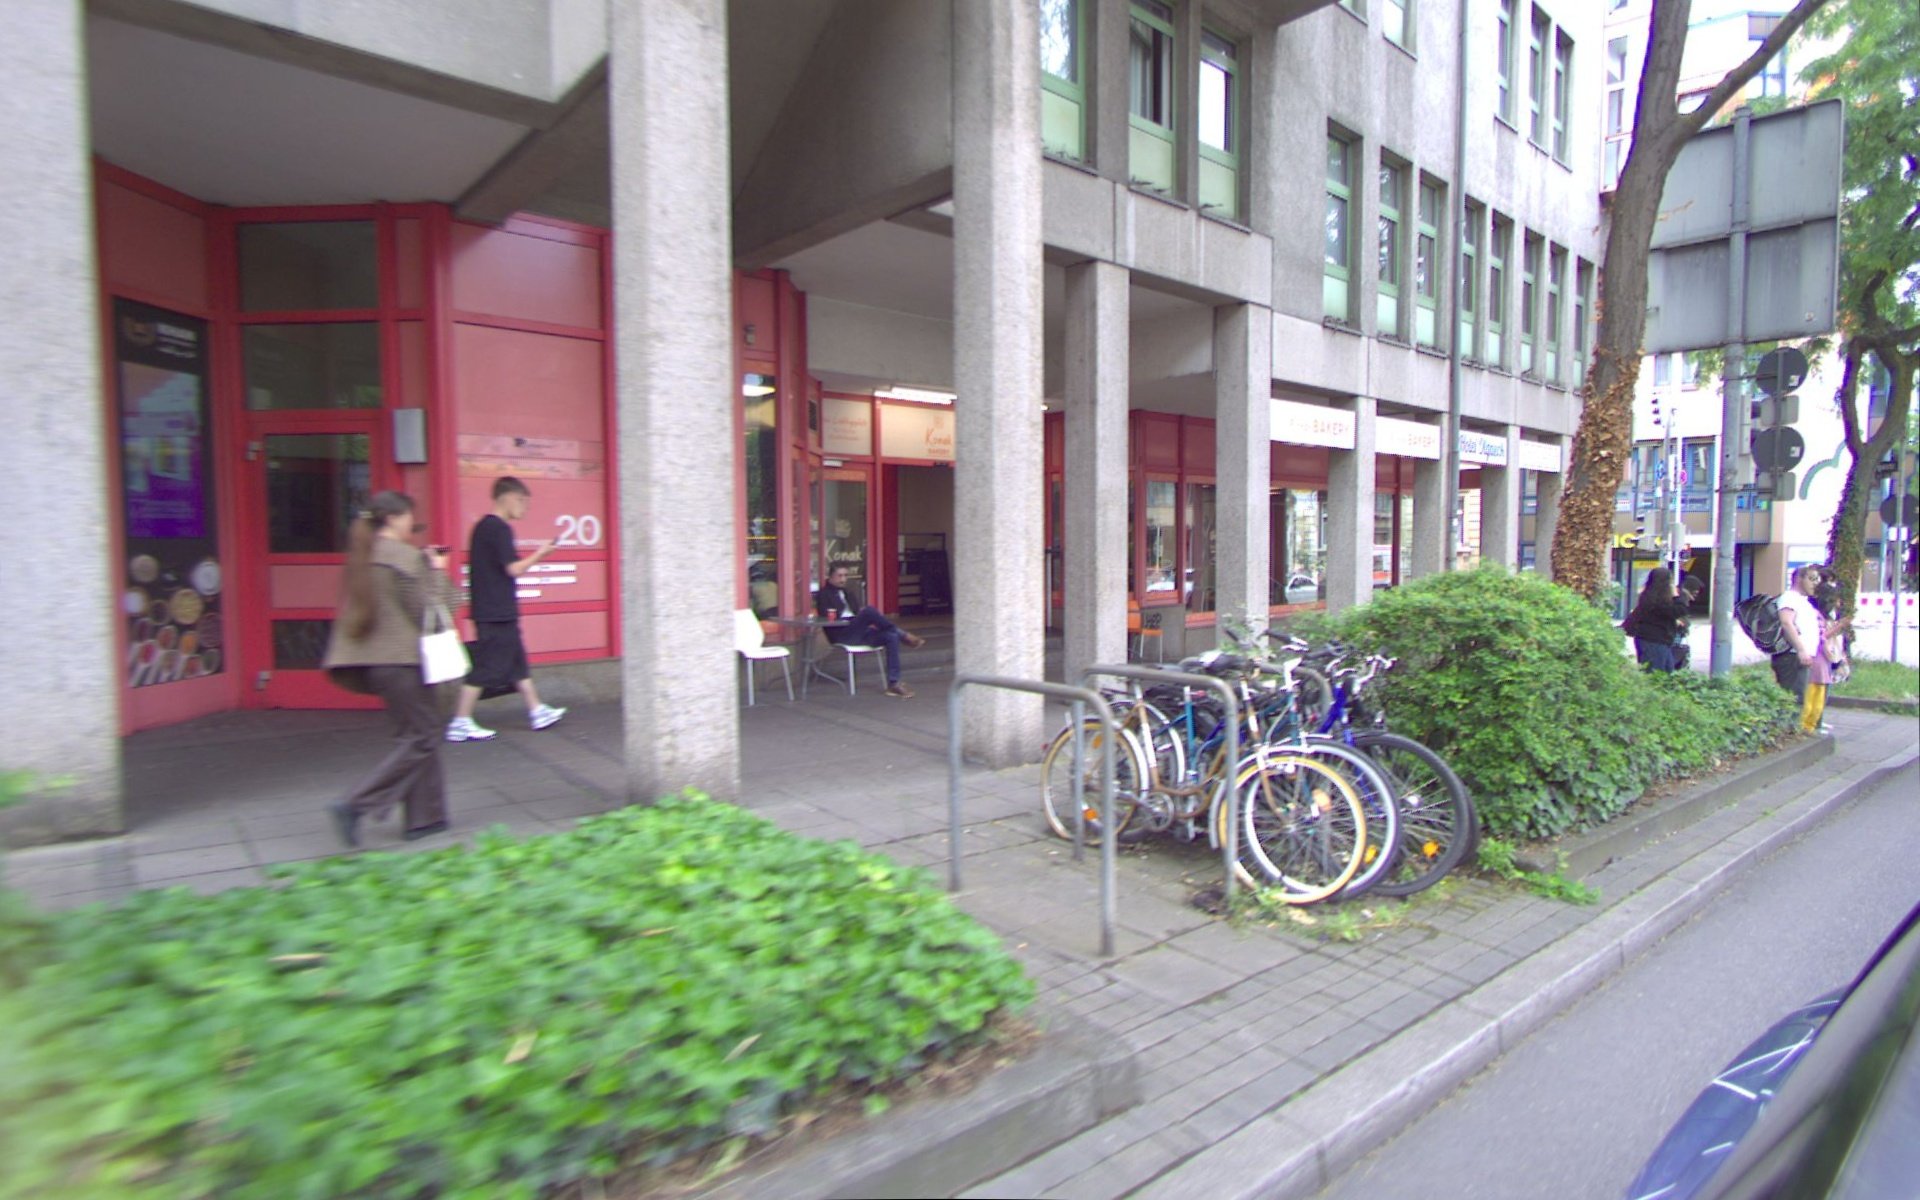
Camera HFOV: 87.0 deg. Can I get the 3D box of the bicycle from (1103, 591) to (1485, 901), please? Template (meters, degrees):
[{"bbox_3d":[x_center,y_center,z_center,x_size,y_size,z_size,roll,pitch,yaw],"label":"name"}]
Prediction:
[{"bbox_3d":[1.552,0.605,4.962,1.708,1.198,0.442,5,4,43],"label":"bicycle"}]

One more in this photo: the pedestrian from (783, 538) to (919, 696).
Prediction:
[{"bbox_3d":[-1.046,0.129,9.638,1.056,1.380,0.745,5,3,43],"label":"pedestrian"}]

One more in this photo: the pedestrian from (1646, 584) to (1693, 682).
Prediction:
[{"bbox_3d":[10.060,0.452,14.350,0.511,1.350,0.471,-2,1,-45],"label":"pedestrian"}]

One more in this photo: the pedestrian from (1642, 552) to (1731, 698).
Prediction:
[{"bbox_3d":[9.547,0.311,13.299,0.821,1.825,0.722,2,2,-45],"label":"pedestrian"}]

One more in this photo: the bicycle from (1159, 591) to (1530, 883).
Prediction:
[{"bbox_3d":[1.909,0.604,5.239,1.708,1.198,0.442,5,4,43],"label":"bicycle"}]

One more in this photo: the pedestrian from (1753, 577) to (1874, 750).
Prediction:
[{"bbox_3d":[8.321,0.577,9.869,0.752,1.582,0.836,-2,2,-44],"label":"pedestrian"}]

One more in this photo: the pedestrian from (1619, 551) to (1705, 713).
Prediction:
[{"bbox_3d":[7.464,0.320,10.759,0.615,1.632,0.753,4,1,39],"label":"pedestrian"}]

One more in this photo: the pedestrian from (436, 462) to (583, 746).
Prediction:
[{"bbox_3d":[-3.143,-0.001,7.040,0.711,1.825,0.834,0,3,-40],"label":"pedestrian"}]

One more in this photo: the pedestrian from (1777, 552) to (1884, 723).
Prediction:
[{"bbox_3d":[9.734,0.386,11.323,0.678,1.798,0.694,-1,7,-45],"label":"pedestrian"}]

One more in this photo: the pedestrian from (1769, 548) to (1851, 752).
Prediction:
[{"bbox_3d":[7.899,0.429,9.400,0.752,1.811,0.519,-2,1,-45],"label":"pedestrian"}]

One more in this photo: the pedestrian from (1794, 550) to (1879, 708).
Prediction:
[{"bbox_3d":[10.998,0.329,12.701,0.721,1.897,0.734,-2,2,-45],"label":"pedestrian"}]

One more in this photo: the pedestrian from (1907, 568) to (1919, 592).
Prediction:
[{"bbox_3d":[70.333,-1.496,74.584,0.675,1.732,0.711,0,1,-41],"label":"pedestrian"}]

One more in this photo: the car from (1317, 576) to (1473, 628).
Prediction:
[{"bbox_3d":[13.430,0.013,31.338,4.139,1.446,1.829,2,2,38],"label":"car"}]

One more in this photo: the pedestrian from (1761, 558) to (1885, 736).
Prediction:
[{"bbox_3d":[8.951,0.450,10.499,0.752,1.724,0.836,-1,4,-44],"label":"pedestrian"}]

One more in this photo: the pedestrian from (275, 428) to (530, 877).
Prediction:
[{"bbox_3d":[-2.540,0.185,4.617,0.762,1.804,0.834,4,4,44],"label":"pedestrian"}]

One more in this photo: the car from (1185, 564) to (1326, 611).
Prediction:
[{"bbox_3d":[10.146,-0.478,34.848,4.247,1.507,1.973,2,2,38],"label":"car"}]

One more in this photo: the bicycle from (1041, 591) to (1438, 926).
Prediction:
[{"bbox_3d":[1.199,0.611,4.657,1.708,1.198,0.442,5,4,43],"label":"bicycle"}]

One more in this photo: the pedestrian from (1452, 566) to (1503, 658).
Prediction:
[{"bbox_3d":[10.028,0.229,19.633,0.848,1.735,1.115,0,-1,27],"label":"pedestrian"}]
